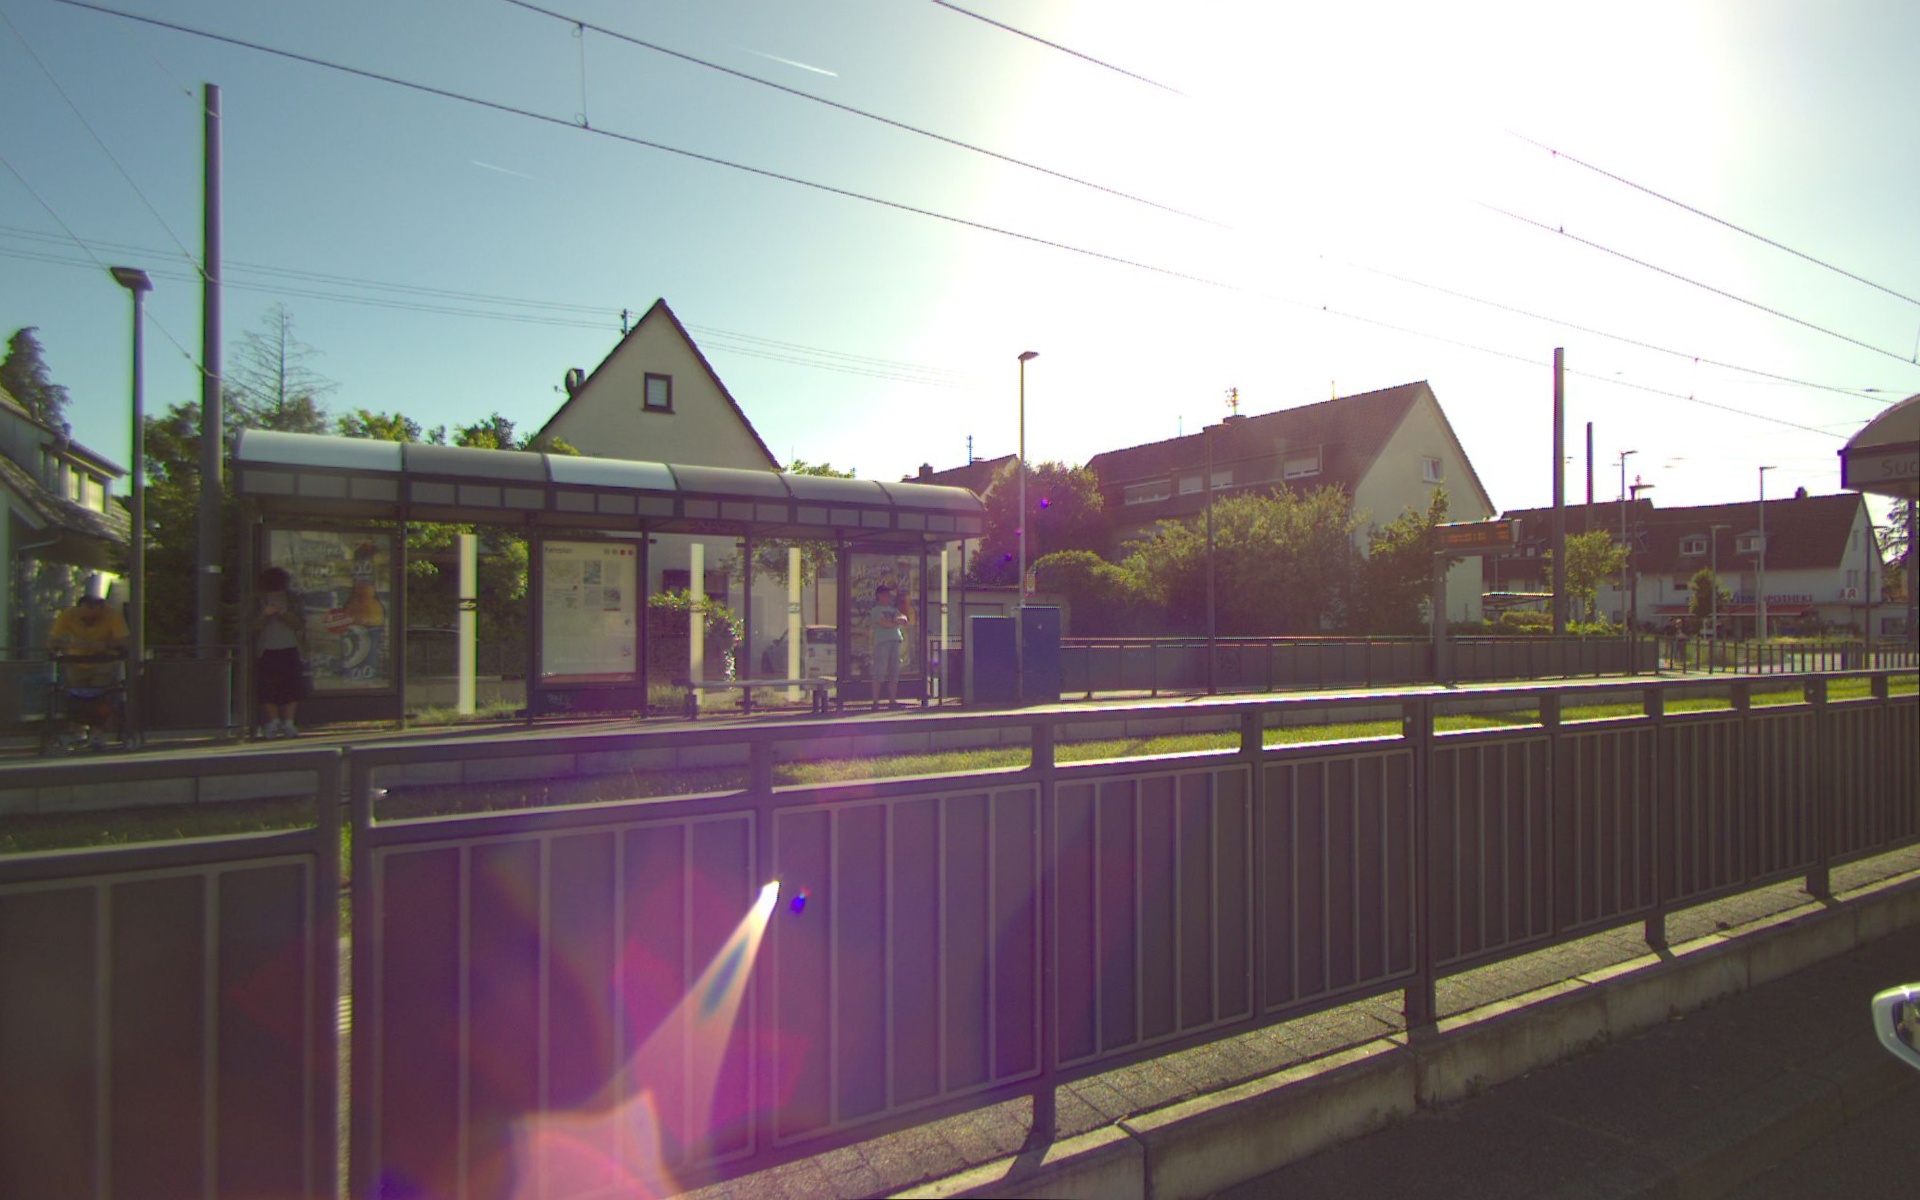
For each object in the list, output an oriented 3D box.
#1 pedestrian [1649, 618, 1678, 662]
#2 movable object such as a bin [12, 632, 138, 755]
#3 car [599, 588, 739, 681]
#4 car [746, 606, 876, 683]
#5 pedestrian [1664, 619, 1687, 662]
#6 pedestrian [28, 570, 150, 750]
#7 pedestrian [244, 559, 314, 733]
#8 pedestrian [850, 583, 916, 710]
[{"bbox_3d":[28.923,1.652,41.285,0.763,1.785,0.725,1,-1,-32],"label":"pedestrian"},{"bbox_3d":[-7.626,0.781,8.682,0.734,1.001,0.543,1,-1,-34],"label":"movable object such as a bin"},{"bbox_3d":[-7.016,0.761,24.006,1.915,1.996,3.958,2,0,-37],"label":"car"},{"bbox_3d":[-4.017,1.117,26.681,1.783,1.830,3.816,2,0,-37],"label":"car"},{"bbox_3d":[29.882,1.685,41.952,0.682,1.755,0.590,1,-1,-32],"label":"pedestrian"},{"bbox_3d":[-7.941,0.530,9.194,0.741,1.556,0.671,1,-1,-34],"label":"pedestrian"},{"bbox_3d":[-7.012,0.463,10.358,0.575,1.731,0.516,1,-1,-34],"label":"pedestrian"},{"bbox_3d":[-1.069,0.642,13.932,0.762,1.718,0.498,1,-3,-29],"label":"pedestrian"}]
